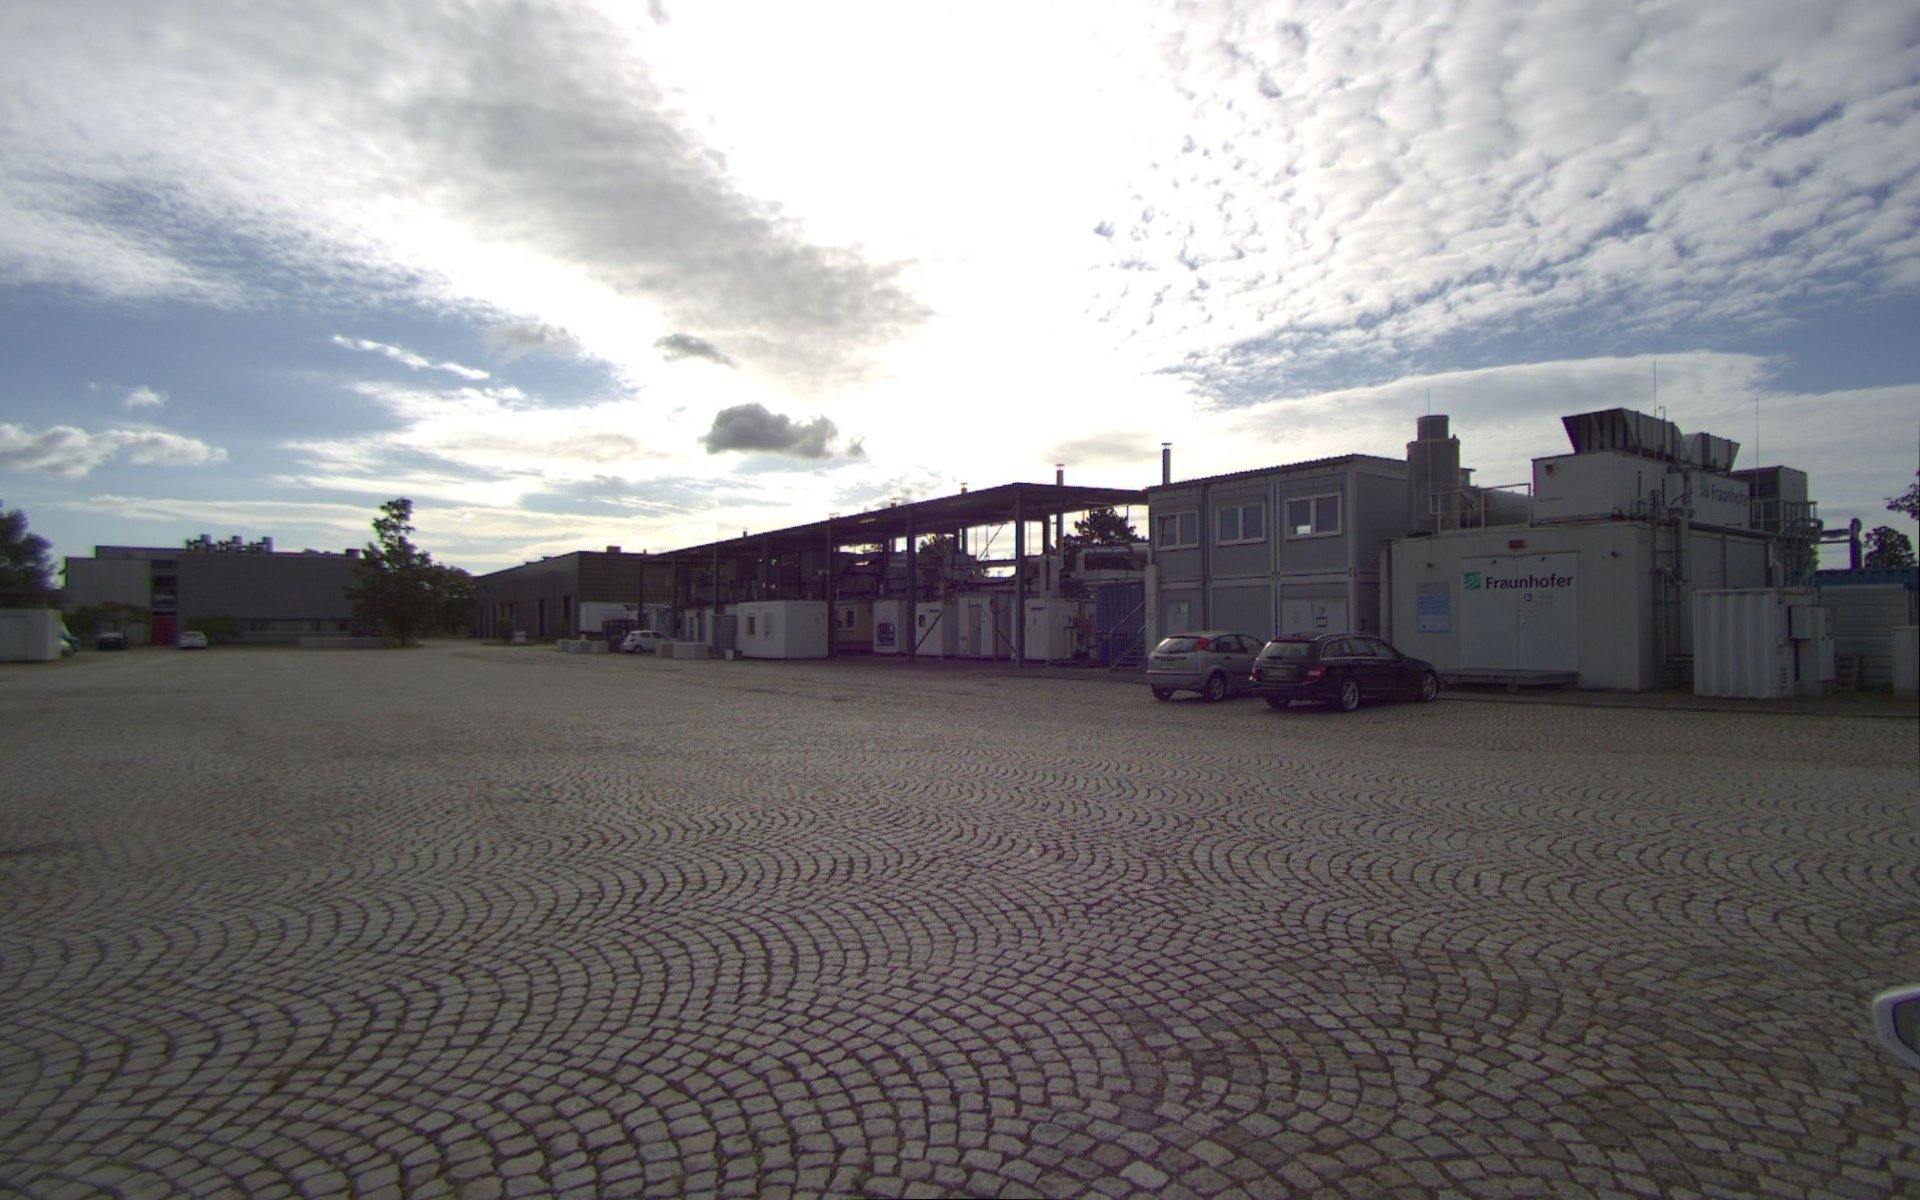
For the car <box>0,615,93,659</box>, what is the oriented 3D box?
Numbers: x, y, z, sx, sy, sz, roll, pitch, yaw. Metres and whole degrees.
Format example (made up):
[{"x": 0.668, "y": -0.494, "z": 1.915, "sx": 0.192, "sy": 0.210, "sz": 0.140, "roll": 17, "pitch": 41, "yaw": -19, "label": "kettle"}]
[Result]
[{"x": -57.582, "y": 2.262, "z": 62.265, "sx": 5.577, "sy": 2.649, "sz": 2.427, "roll": 1, "pitch": -2, "yaw": -37, "label": "car"}]

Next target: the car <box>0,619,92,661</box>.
[{"x": -52.025, "y": 2.214, "z": 55.761, "sx": 5.577, "sy": 2.248, "sz": 2.427, "roll": 1, "pitch": -2, "yaw": -37, "label": "car"}]

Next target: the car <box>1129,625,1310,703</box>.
[{"x": 5.917, "y": 1.379, "z": 22.727, "sx": 4.010, "sy": 1.495, "sz": 1.892, "roll": -1, "pitch": -1, "yaw": -38, "label": "car"}]

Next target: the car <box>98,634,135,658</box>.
[{"x": -68.978, "y": 3.748, "z": 82.216, "sx": 1.981, "sy": 1.834, "sz": 3.960, "roll": 1, "pitch": -2, "yaw": -36, "label": "car"}]

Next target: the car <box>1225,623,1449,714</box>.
[{"x": 7.570, "y": 1.280, "z": 20.019, "sx": 4.485, "sy": 1.472, "sz": 2.023, "roll": -1, "pitch": -1, "yaw": -36, "label": "car"}]

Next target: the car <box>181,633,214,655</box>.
[{"x": -65.020, "y": 3.711, "z": 85.691, "sx": 2.133, "sy": 1.834, "sz": 3.960, "roll": 1, "pitch": -2, "yaw": -36, "label": "car"}]

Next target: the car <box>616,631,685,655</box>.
[{"x": -20.721, "y": 2.873, "z": 67.291, "sx": 3.963, "sy": 1.512, "sz": 1.979, "roll": 1, "pitch": -2, "yaw": -37, "label": "car"}]
